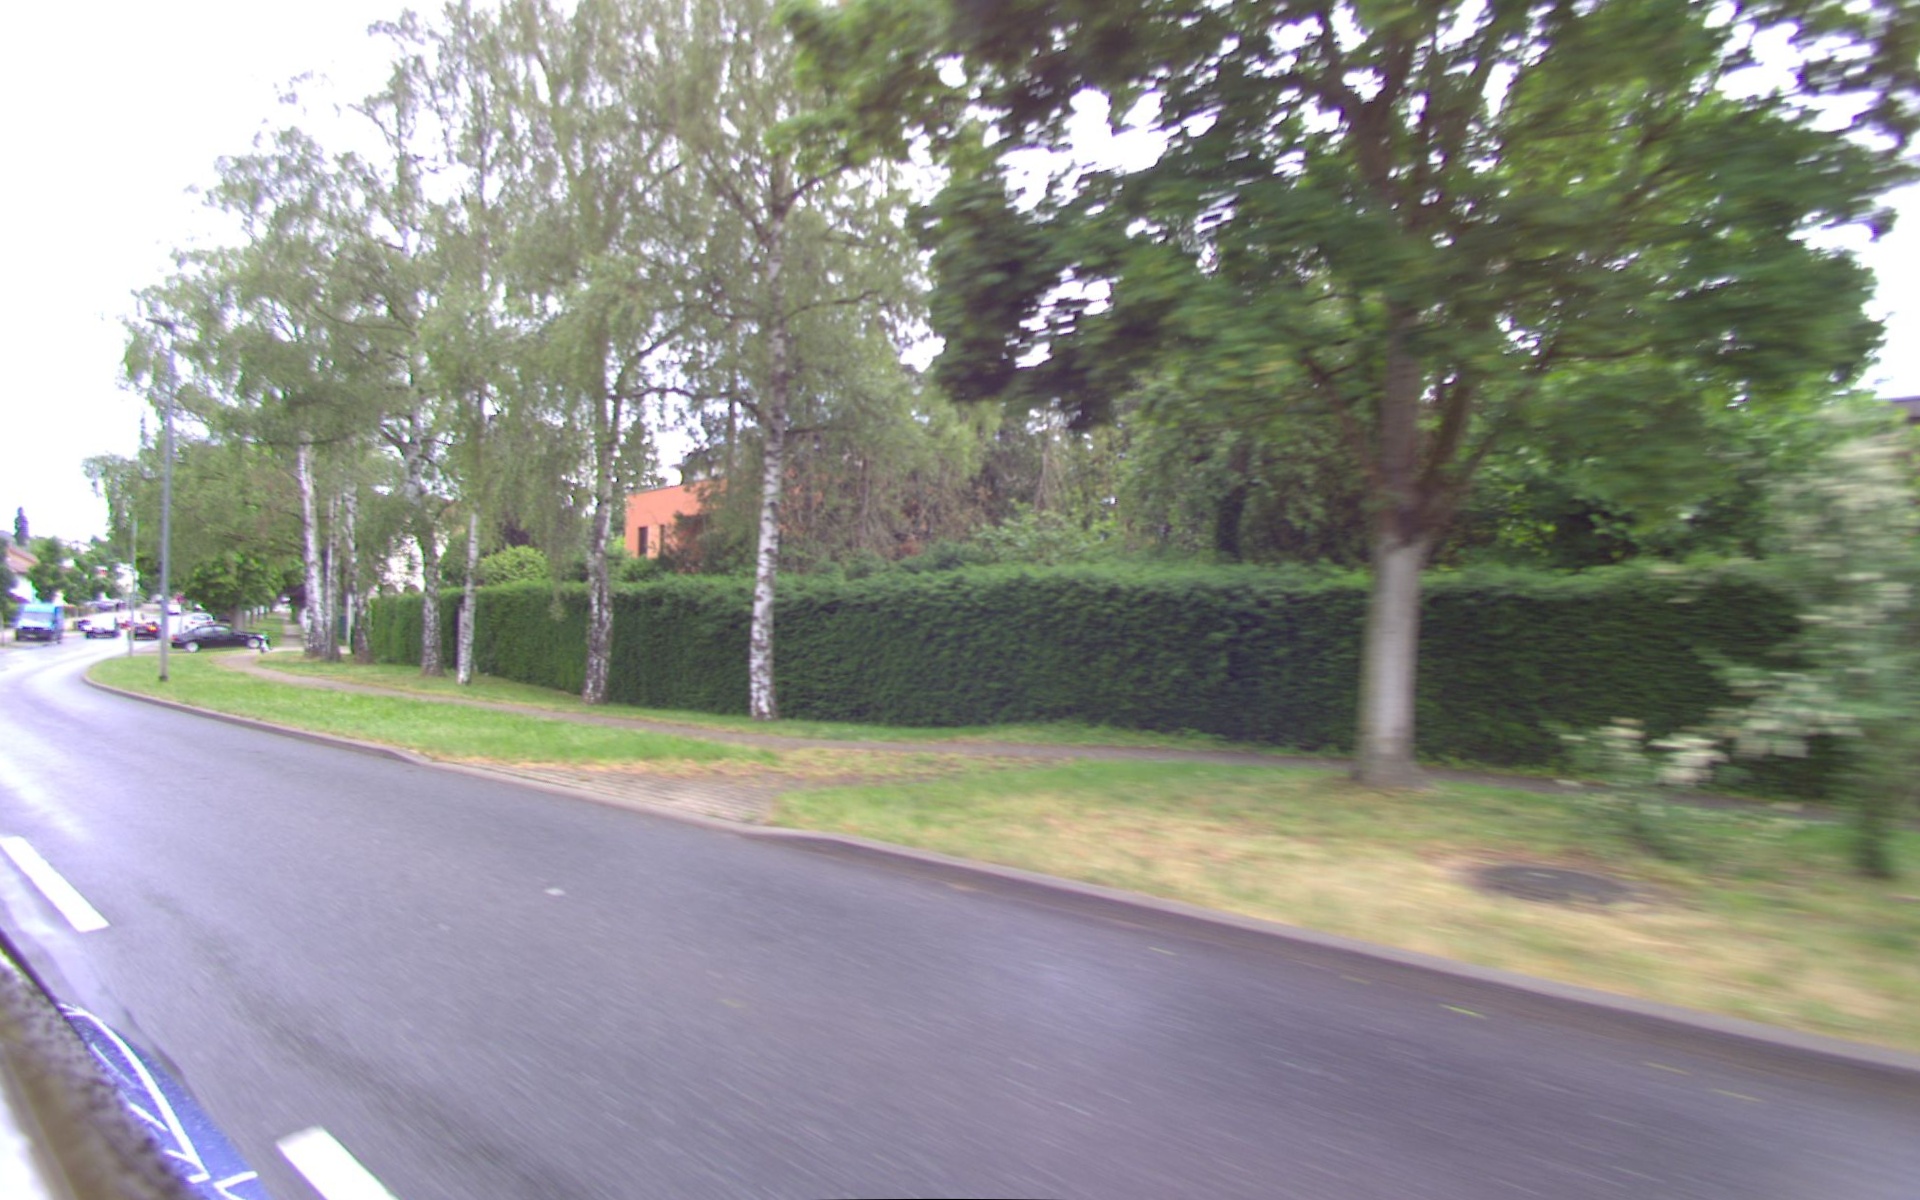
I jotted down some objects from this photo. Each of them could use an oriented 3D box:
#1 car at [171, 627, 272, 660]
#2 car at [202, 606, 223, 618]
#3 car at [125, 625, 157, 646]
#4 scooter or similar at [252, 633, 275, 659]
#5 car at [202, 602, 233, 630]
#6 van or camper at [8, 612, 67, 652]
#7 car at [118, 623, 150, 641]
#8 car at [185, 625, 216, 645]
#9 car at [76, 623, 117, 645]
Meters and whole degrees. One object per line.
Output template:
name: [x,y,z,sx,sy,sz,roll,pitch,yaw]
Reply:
car: [-40.483,2.361,55.612,4.369,1.428,1.760,-3,1,-35]
car: [-102.516,1.618,138.788,1.865,1.552,4.012,-1,0,-31]
car: [-62.309,2.699,76.983,1.733,1.452,4.163,-1,-1,-41]
scooter or similar: [-32.977,2.179,47.926,0.418,1.167,1.494,-2,-1,-15]
car: [-79.181,1.690,108.035,2.211,2.860,5.059,-1,1,-31]
van or camper: [-66.371,2.260,72.896,2.114,2.628,5.797,3,-2,-33]
car: [-78.089,3.000,95.741,1.865,1.552,4.011,-1,0,-33]
car: [-66.304,3.049,88.423,1.746,1.619,4.012,1,0,-31]
car: [-67.622,2.631,79.283,1.865,1.552,4.011,-1,0,-33]
